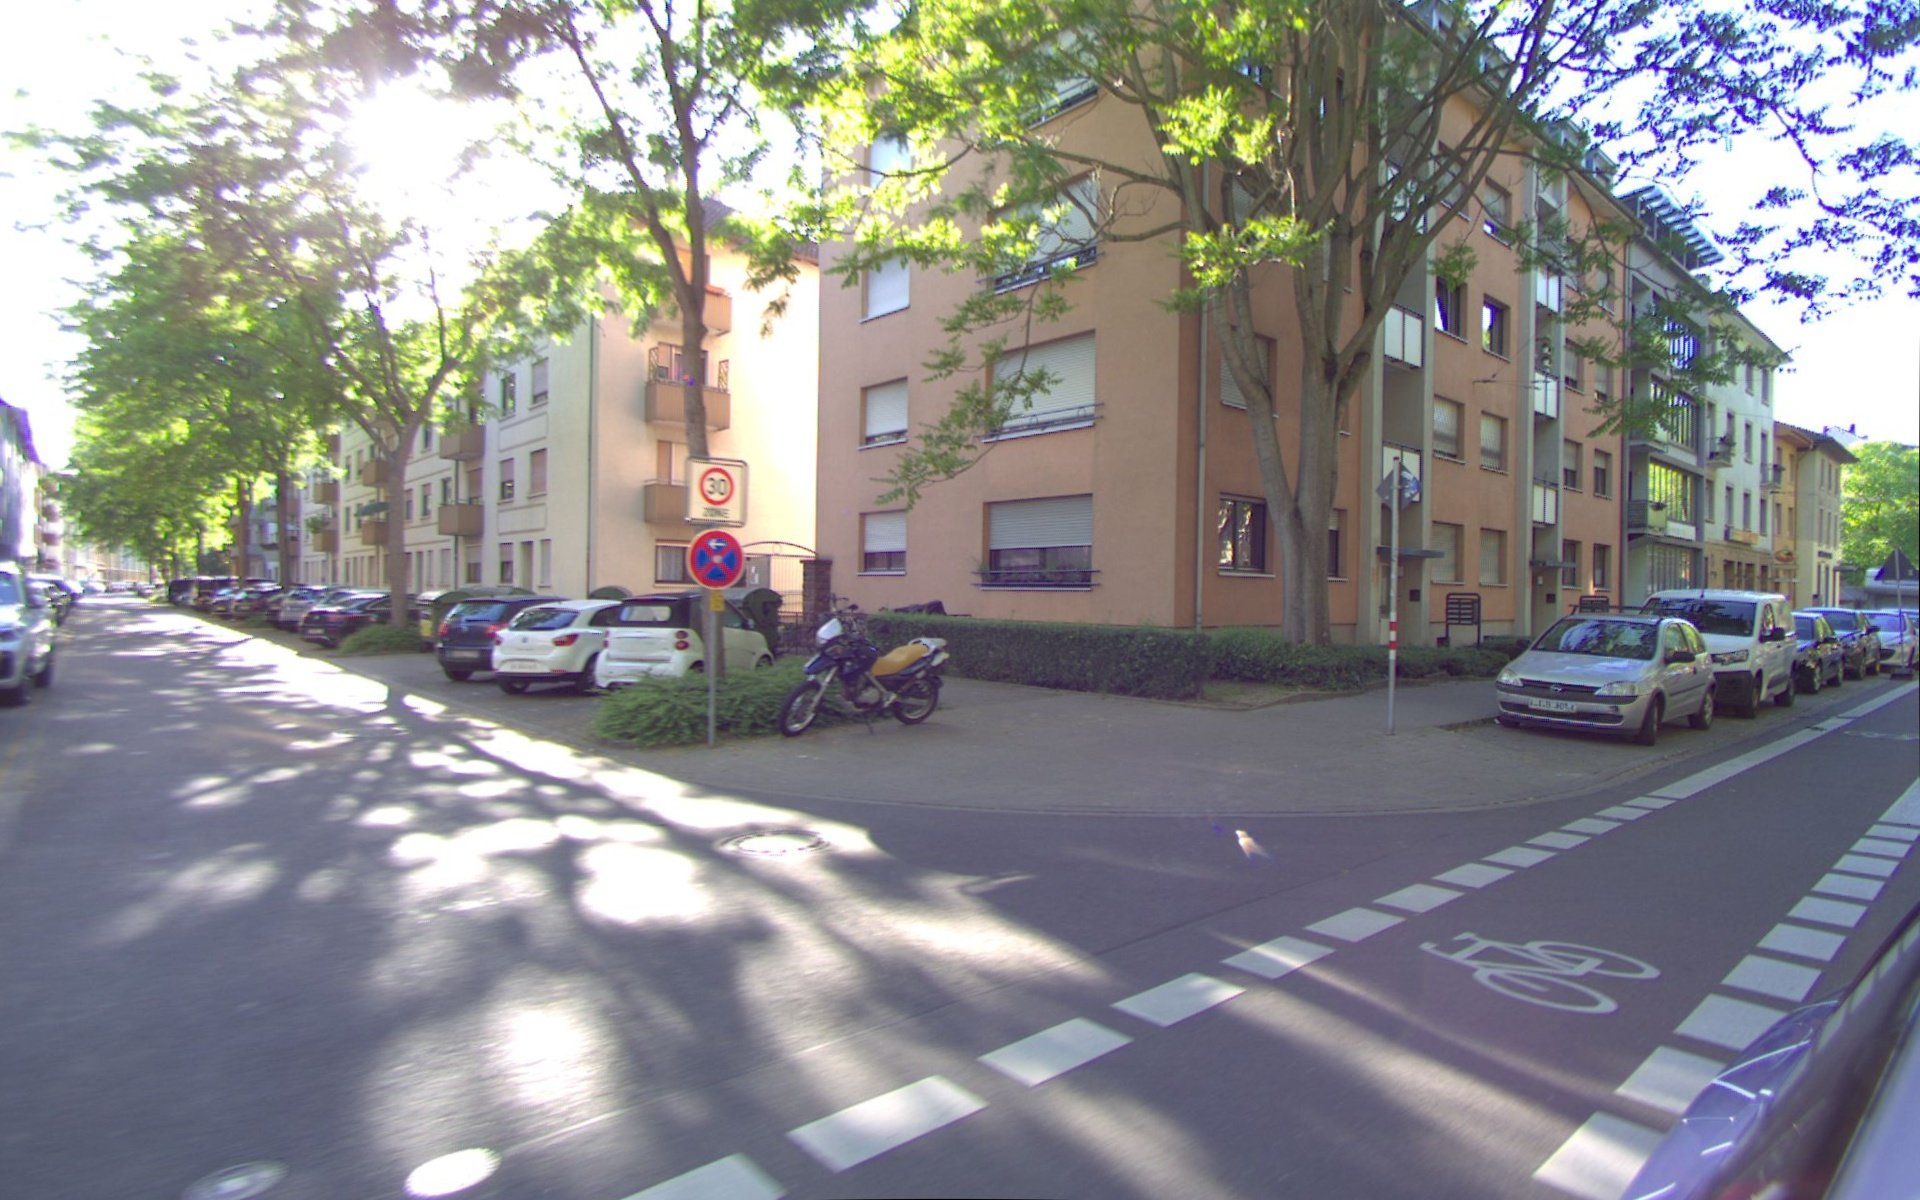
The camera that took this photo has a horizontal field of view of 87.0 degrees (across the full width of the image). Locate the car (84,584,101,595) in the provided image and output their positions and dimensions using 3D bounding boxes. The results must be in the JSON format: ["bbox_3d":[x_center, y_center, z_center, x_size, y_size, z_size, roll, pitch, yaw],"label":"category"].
[{"bbox_3d":[-124.991,-1.516,145.894,1.501,1.507,3.305,1,0,-34],"label":"car"}]

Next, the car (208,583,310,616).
[{"bbox_3d":[-32.341,-0.034,46.726,3.720,1.459,1.662,0,0,-41],"label":"car"}]

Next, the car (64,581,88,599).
[{"bbox_3d":[-74.290,-0.837,85.065,1.410,1.507,3.388,1,0,-39],"label":"car"}]

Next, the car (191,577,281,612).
[{"bbox_3d":[-37.976,-0.280,53.131,3.720,1.740,1.662,0,0,-41],"label":"car"}]

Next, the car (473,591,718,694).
[{"bbox_3d":[-5.840,0.603,16.720,1.706,1.479,3.919,0,0,20],"label":"car"}]

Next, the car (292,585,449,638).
[{"bbox_3d":[-17.094,0.300,29.412,3.720,1.459,1.662,0,0,-41],"label":"car"}]

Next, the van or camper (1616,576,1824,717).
[{"bbox_3d":[11.951,0.615,15.782,4.748,1.887,1.757,0,1,-43],"label":"van or camper"}]

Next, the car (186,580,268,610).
[{"bbox_3d":[-42.190,-0.286,58.270,3.719,1.724,1.662,0,0,-41],"label":"car"}]

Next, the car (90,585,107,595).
[{"bbox_3d":[-129.035,-1.501,151.569,1.500,1.507,3.307,1,0,-33],"label":"car"}]

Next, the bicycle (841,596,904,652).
[{"bbox_3d":[-1.947,0.513,22.407,0.442,1.180,1.773,0,0,-40],"label":"bicycle"}]

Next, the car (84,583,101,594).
[{"bbox_3d":[-118.601,-1.534,138.362,1.501,1.507,3.304,1,0,-36],"label":"car"}]

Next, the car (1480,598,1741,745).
[{"bbox_3d":[8.105,0.746,12.474,3.931,1.491,1.708,0,1,-42],"label":"car"}]

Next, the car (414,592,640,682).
[{"bbox_3d":[-7.897,0.601,18.846,1.646,1.479,3.919,0,0,20],"label":"car"}]

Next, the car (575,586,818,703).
[{"bbox_3d":[-3.909,0.585,15.747,1.706,1.560,3.973,0,0,20],"label":"car"}]

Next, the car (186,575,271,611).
[{"bbox_3d":[-40.652,-0.408,56.300,3.720,1.939,1.662,0,0,-41],"label":"car"}]

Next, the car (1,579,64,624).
[{"bbox_3d":[-32.566,0.029,35.593,1.410,1.507,3.388,1,0,-39],"label":"car"}]

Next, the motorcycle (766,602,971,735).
[{"bbox_3d":[-0.976,0.699,11.149,2.215,1.314,0.680,0,1,-35],"label":"motorcycle"}]

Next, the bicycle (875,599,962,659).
[{"bbox_3d":[-0.782,0.536,19.445,1.745,1.113,0.513,0,-1,-41],"label":"bicycle"}]

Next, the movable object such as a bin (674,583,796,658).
[{"bbox_3d":[-4.694,0.373,20.996,1.355,1.436,2.542,-2,2,-43],"label":"movable object such as a bin"}]

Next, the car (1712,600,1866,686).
[{"bbox_3d":[16.326,0.769,19.864,4.096,1.491,1.708,0,1,-42],"label":"car"}]

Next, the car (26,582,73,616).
[{"bbox_3d":[-41.936,-0.064,46.653,1.410,1.507,3.388,1,0,-39],"label":"car"}]

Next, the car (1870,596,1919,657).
[{"bbox_3d":[28.154,0.753,29.608,4.202,1.648,1.796,0,2,-42],"label":"car"}]

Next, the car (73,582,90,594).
[{"bbox_3d":[-115.108,-1.543,132.635,1.503,1.507,3.301,1,0,-39],"label":"car"}]

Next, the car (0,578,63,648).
[{"bbox_3d":[-21.543,0.260,23.007,1.554,1.507,3.388,0,0,-39],"label":"car"}]

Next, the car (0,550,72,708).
[{"bbox_3d":[-13.039,0.275,13.146,1.969,1.816,4.732,4,-2,-39],"label":"car"}]

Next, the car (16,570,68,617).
[{"bbox_3d":[-38.879,-0.282,42.923,1.410,1.897,3.388,1,0,-39],"label":"car"}]

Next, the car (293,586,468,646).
[{"bbox_3d":[-15.059,0.376,26.390,3.720,1.459,1.662,0,0,-41],"label":"car"}]

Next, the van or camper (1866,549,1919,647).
[{"bbox_3d":[32.694,-0.045,34.163,6.161,3.102,2.466,0,2,-43],"label":"van or camper"}]

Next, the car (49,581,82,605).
[{"bbox_3d":[-57.567,-0.486,65.132,1.410,1.507,3.388,1,0,-39],"label":"car"}]

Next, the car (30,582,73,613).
[{"bbox_3d":[-46.040,-0.139,51.311,1.410,1.507,3.388,1,0,-39],"label":"car"}]

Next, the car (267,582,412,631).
[{"bbox_3d":[-19.535,0.198,31.926,3.720,1.459,1.662,0,0,-41],"label":"car"}]

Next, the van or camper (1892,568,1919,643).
[{"bbox_3d":[37.108,0.233,38.314,4.893,2.696,2.136,0,2,-42],"label":"van or camper"}]

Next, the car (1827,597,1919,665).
[{"bbox_3d":[23.737,0.745,25.942,4.249,1.541,1.791,0,2,-43],"label":"car"}]

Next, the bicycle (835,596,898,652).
[{"bbox_3d":[-2.073,0.512,22.298,0.442,1.185,1.773,0,0,-40],"label":"bicycle"}]

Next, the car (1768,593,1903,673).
[{"bbox_3d":[20.136,0.696,23.216,4.262,1.591,1.771,0,2,-42],"label":"car"}]

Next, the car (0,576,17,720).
[{"bbox_3d":[-9.926,0.478,9.316,1.533,1.502,3.921,4,-2,-40],"label":"car"}]

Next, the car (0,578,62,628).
[{"bbox_3d":[-29.316,0.071,31.846,1.410,1.507,3.388,1,0,-39],"label":"car"}]

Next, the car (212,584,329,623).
[{"bbox_3d":[-27.387,0.133,40.256,3.720,1.459,1.662,0,0,-41],"label":"car"}]
